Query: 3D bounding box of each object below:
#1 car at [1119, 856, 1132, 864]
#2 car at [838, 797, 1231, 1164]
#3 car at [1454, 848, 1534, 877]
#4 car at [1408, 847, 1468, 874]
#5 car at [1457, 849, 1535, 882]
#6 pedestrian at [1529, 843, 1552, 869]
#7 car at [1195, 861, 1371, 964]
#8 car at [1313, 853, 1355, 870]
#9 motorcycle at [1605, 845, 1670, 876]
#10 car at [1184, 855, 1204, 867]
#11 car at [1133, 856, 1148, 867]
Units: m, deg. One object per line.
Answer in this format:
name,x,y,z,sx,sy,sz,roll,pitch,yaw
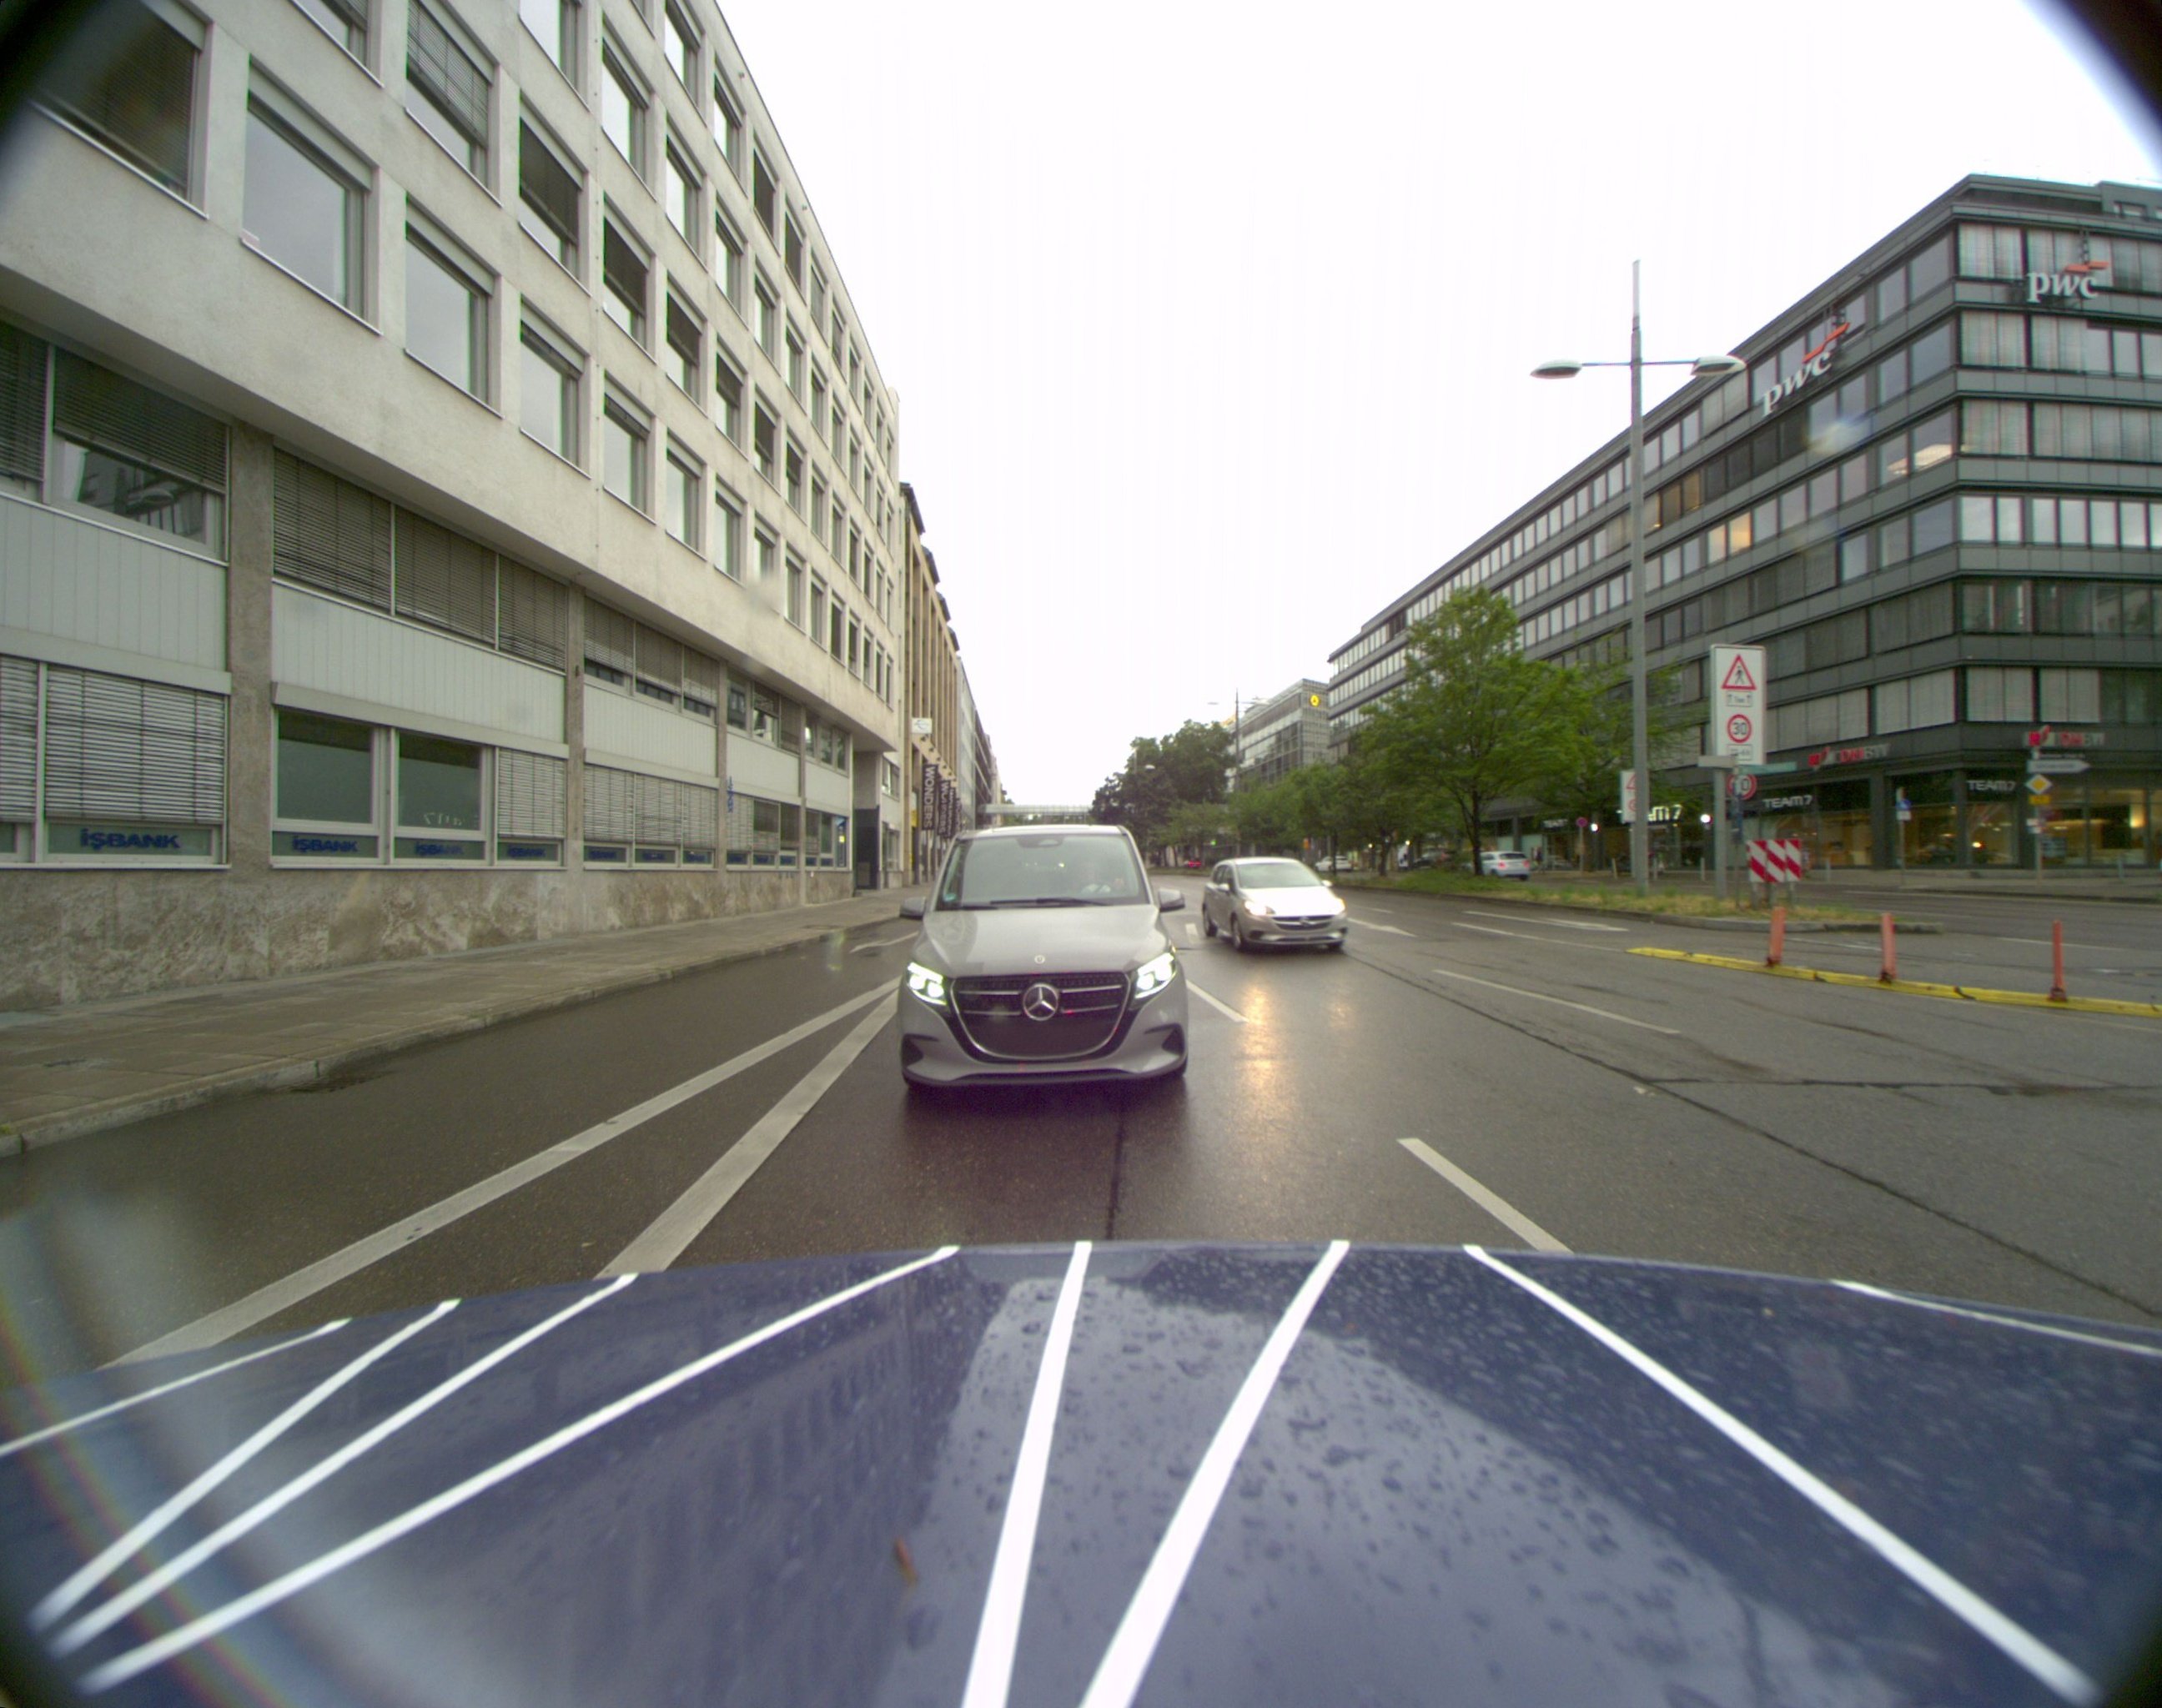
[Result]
car,8.208,1.161,140.180,1.687,1.423,4.081,-1,0,-5
car,-0.301,0.719,6.813,2.163,2.014,5.041,-1,0,-1
car,24.020,0.451,44.403,1.814,1.477,4.771,-4,0,-4
car,23.682,0.444,50.537,1.813,1.651,4.309,-2,0,-2
car,21.282,0.575,39.109,1.788,1.564,3.690,-1,0,-4
pedestrian,28.744,0.129,47.530,0.786,1.628,0.965,-1,0,-4
car,3.224,0.865,12.966,1.853,1.434,3.869,-1,0,-2
car,22.295,0.639,67.019,1.814,1.436,4.307,-2,0,-7
motorcycle,26.977,0.305,36.858,0.861,1.386,2.364,-5,2,-30
car,15.225,0.984,102.633,1.999,1.535,4.482,-1,0,-1
car,10.115,1.319,129.003,1.742,1.717,4.491,4,-1,-5
